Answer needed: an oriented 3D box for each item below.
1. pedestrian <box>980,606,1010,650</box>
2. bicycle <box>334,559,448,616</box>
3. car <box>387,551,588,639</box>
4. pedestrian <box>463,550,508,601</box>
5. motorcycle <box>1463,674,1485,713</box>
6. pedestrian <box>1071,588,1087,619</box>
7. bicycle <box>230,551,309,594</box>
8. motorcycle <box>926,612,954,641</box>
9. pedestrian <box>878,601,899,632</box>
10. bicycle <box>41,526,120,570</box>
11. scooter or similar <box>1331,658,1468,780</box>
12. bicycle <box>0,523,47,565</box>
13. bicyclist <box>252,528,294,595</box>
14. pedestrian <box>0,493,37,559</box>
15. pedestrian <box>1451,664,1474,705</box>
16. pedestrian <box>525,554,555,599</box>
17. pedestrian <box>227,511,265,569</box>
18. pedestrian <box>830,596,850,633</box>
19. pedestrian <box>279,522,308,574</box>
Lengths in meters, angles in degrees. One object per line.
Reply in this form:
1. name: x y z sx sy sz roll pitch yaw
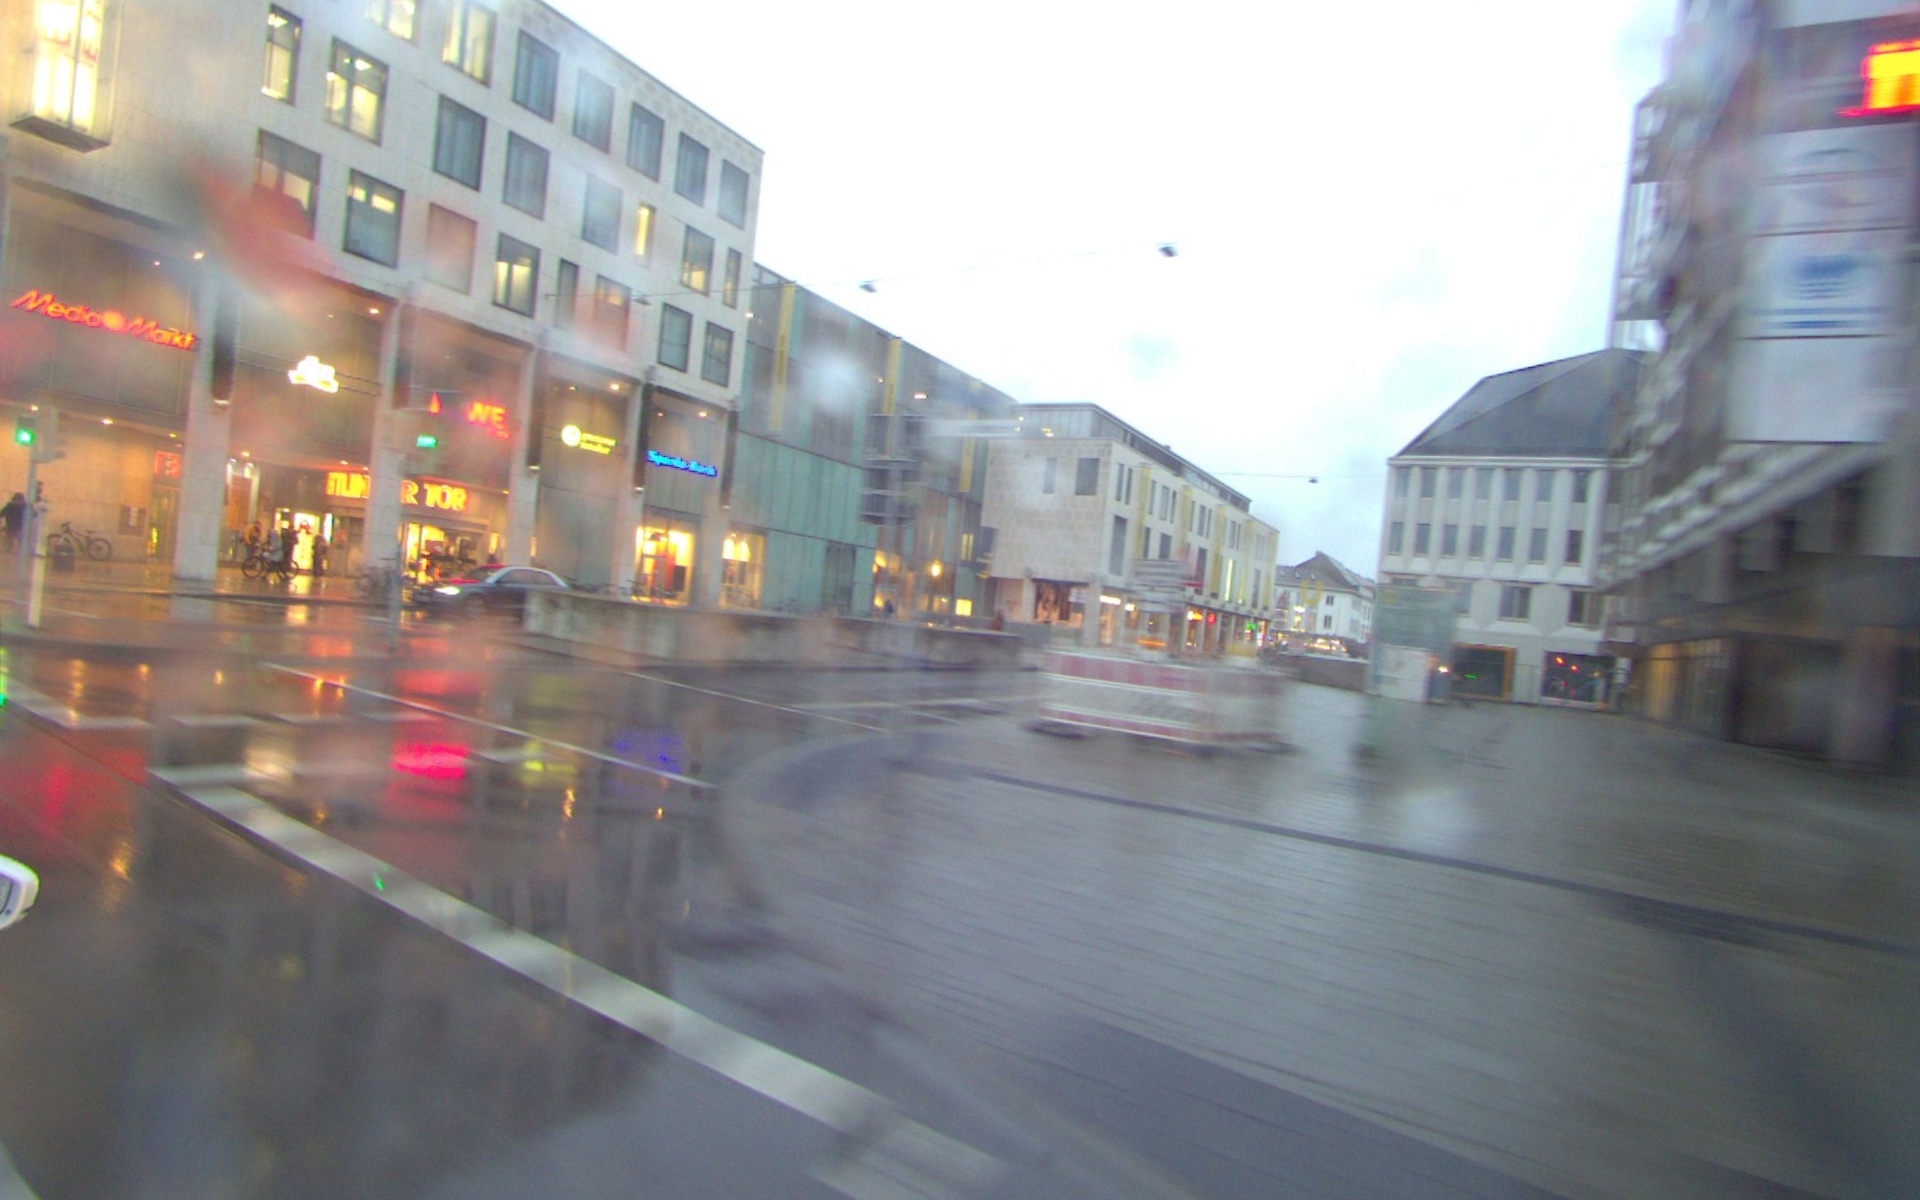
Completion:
1. pedestrian: 1.428 1.139 41.008 0.769 1.703 0.742 6 -1 36
2. bicycle: -16.445 -0.336 29.165 0.941 1.375 2.719 6 -1 26
3. car: -11.624 -0.083 25.026 1.967 1.636 3.995 6 -2 31
4. pedestrian: -17.488 -0.887 37.081 0.810 1.703 1.032 6 -1 29
5. motorcycle: 19.230 3.496 37.659 0.584 1.368 1.494 7 -1 27
6. pedestrian: 6.787 0.197 57.295 0.572 1.703 0.542 6 -1 36
7. bicycle: -22.050 -0.870 32.158 1.951 1.099 0.917 7 0 -39
8. motorcycle: -1.082 1.416 54.053 0.585 1.368 1.492 7 -1 34
9. pedestrian: -4.090 0.946 57.578 0.769 1.703 0.742 6 -1 36
10. bicycle: -26.588 -1.559 30.450 0.515 1.082 1.651 6 -2 26
11. scooter or similar: 5.810 1.549 13.317 1.469 1.368 0.593 7 -1 30
12. bicycle: -27.430 -1.659 28.794 0.515 1.082 1.774 6 -2 21
13. bicyclist: -21.976 -1.234 32.189 0.917 2.039 0.898 6 1 -37
14. pedestrian: -26.605 -2.083 28.379 0.517 1.765 0.600 6 -1 38
15. pedestrian: 23.110 3.881 46.275 0.678 1.796 0.660 6 -1 14
16. pedestrian: -17.173 -0.954 41.118 0.519 1.705 0.894 6 0 29
17. pedestrian: -26.534 -2.215 37.395 0.688 2.039 0.846 7 1 38
18. pedestrian: -5.927 0.721 49.657 0.572 1.703 0.542 6 -1 36
19. pedestrian: -23.541 -1.817 35.535 0.730 1.740 0.732 5 1 -33
